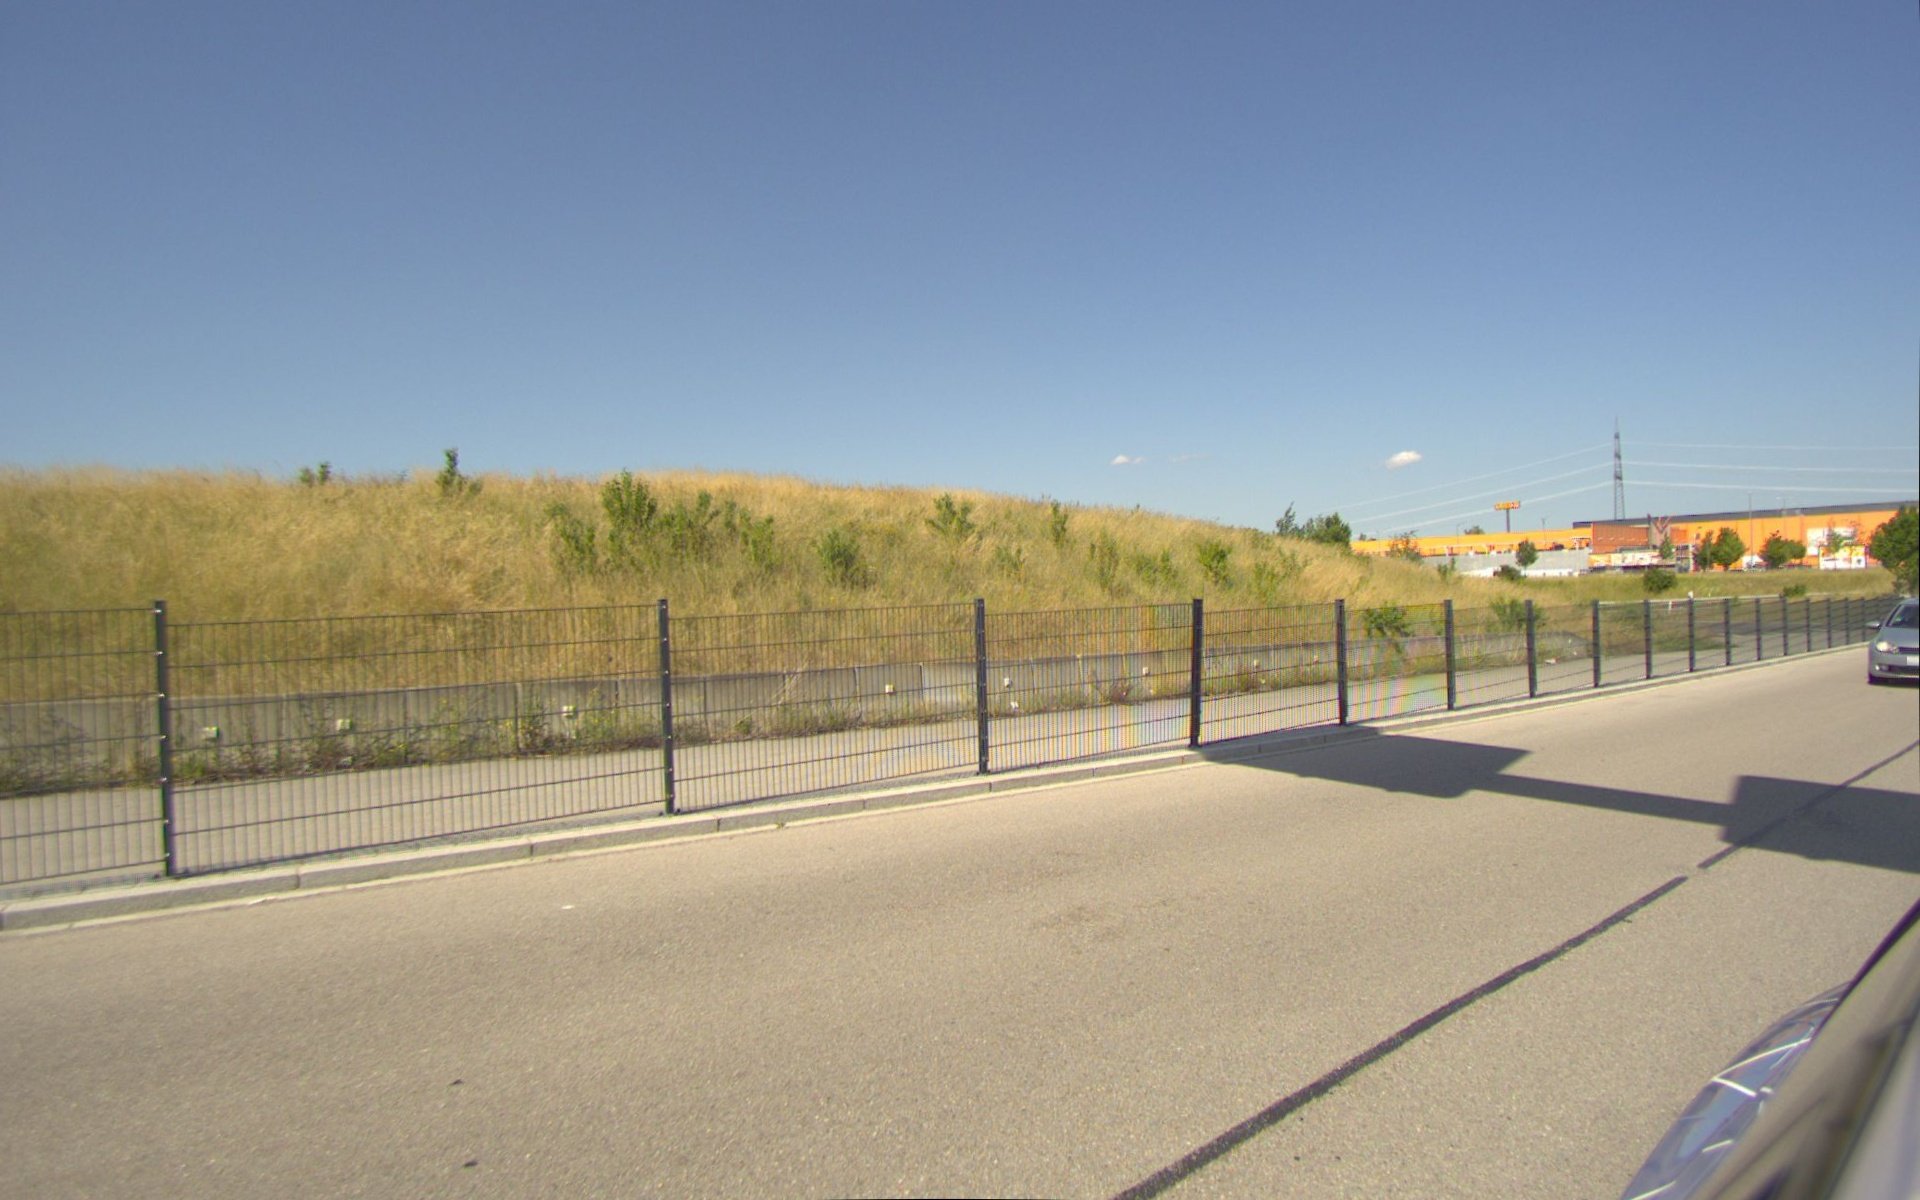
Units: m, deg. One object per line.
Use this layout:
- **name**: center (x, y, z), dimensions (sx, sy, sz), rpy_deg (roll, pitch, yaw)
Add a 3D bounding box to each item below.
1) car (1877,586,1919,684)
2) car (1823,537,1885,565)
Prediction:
- **car**: center (16.851, 0.549, 16.978), dimensions (3.892, 1.486, 1.745), rpy_deg (-1, 2, -41)
- **car**: center (93.042, -5.047, 105.341), dimensions (1.968, 2.581, 4.623), rpy_deg (-1, -1, -45)
